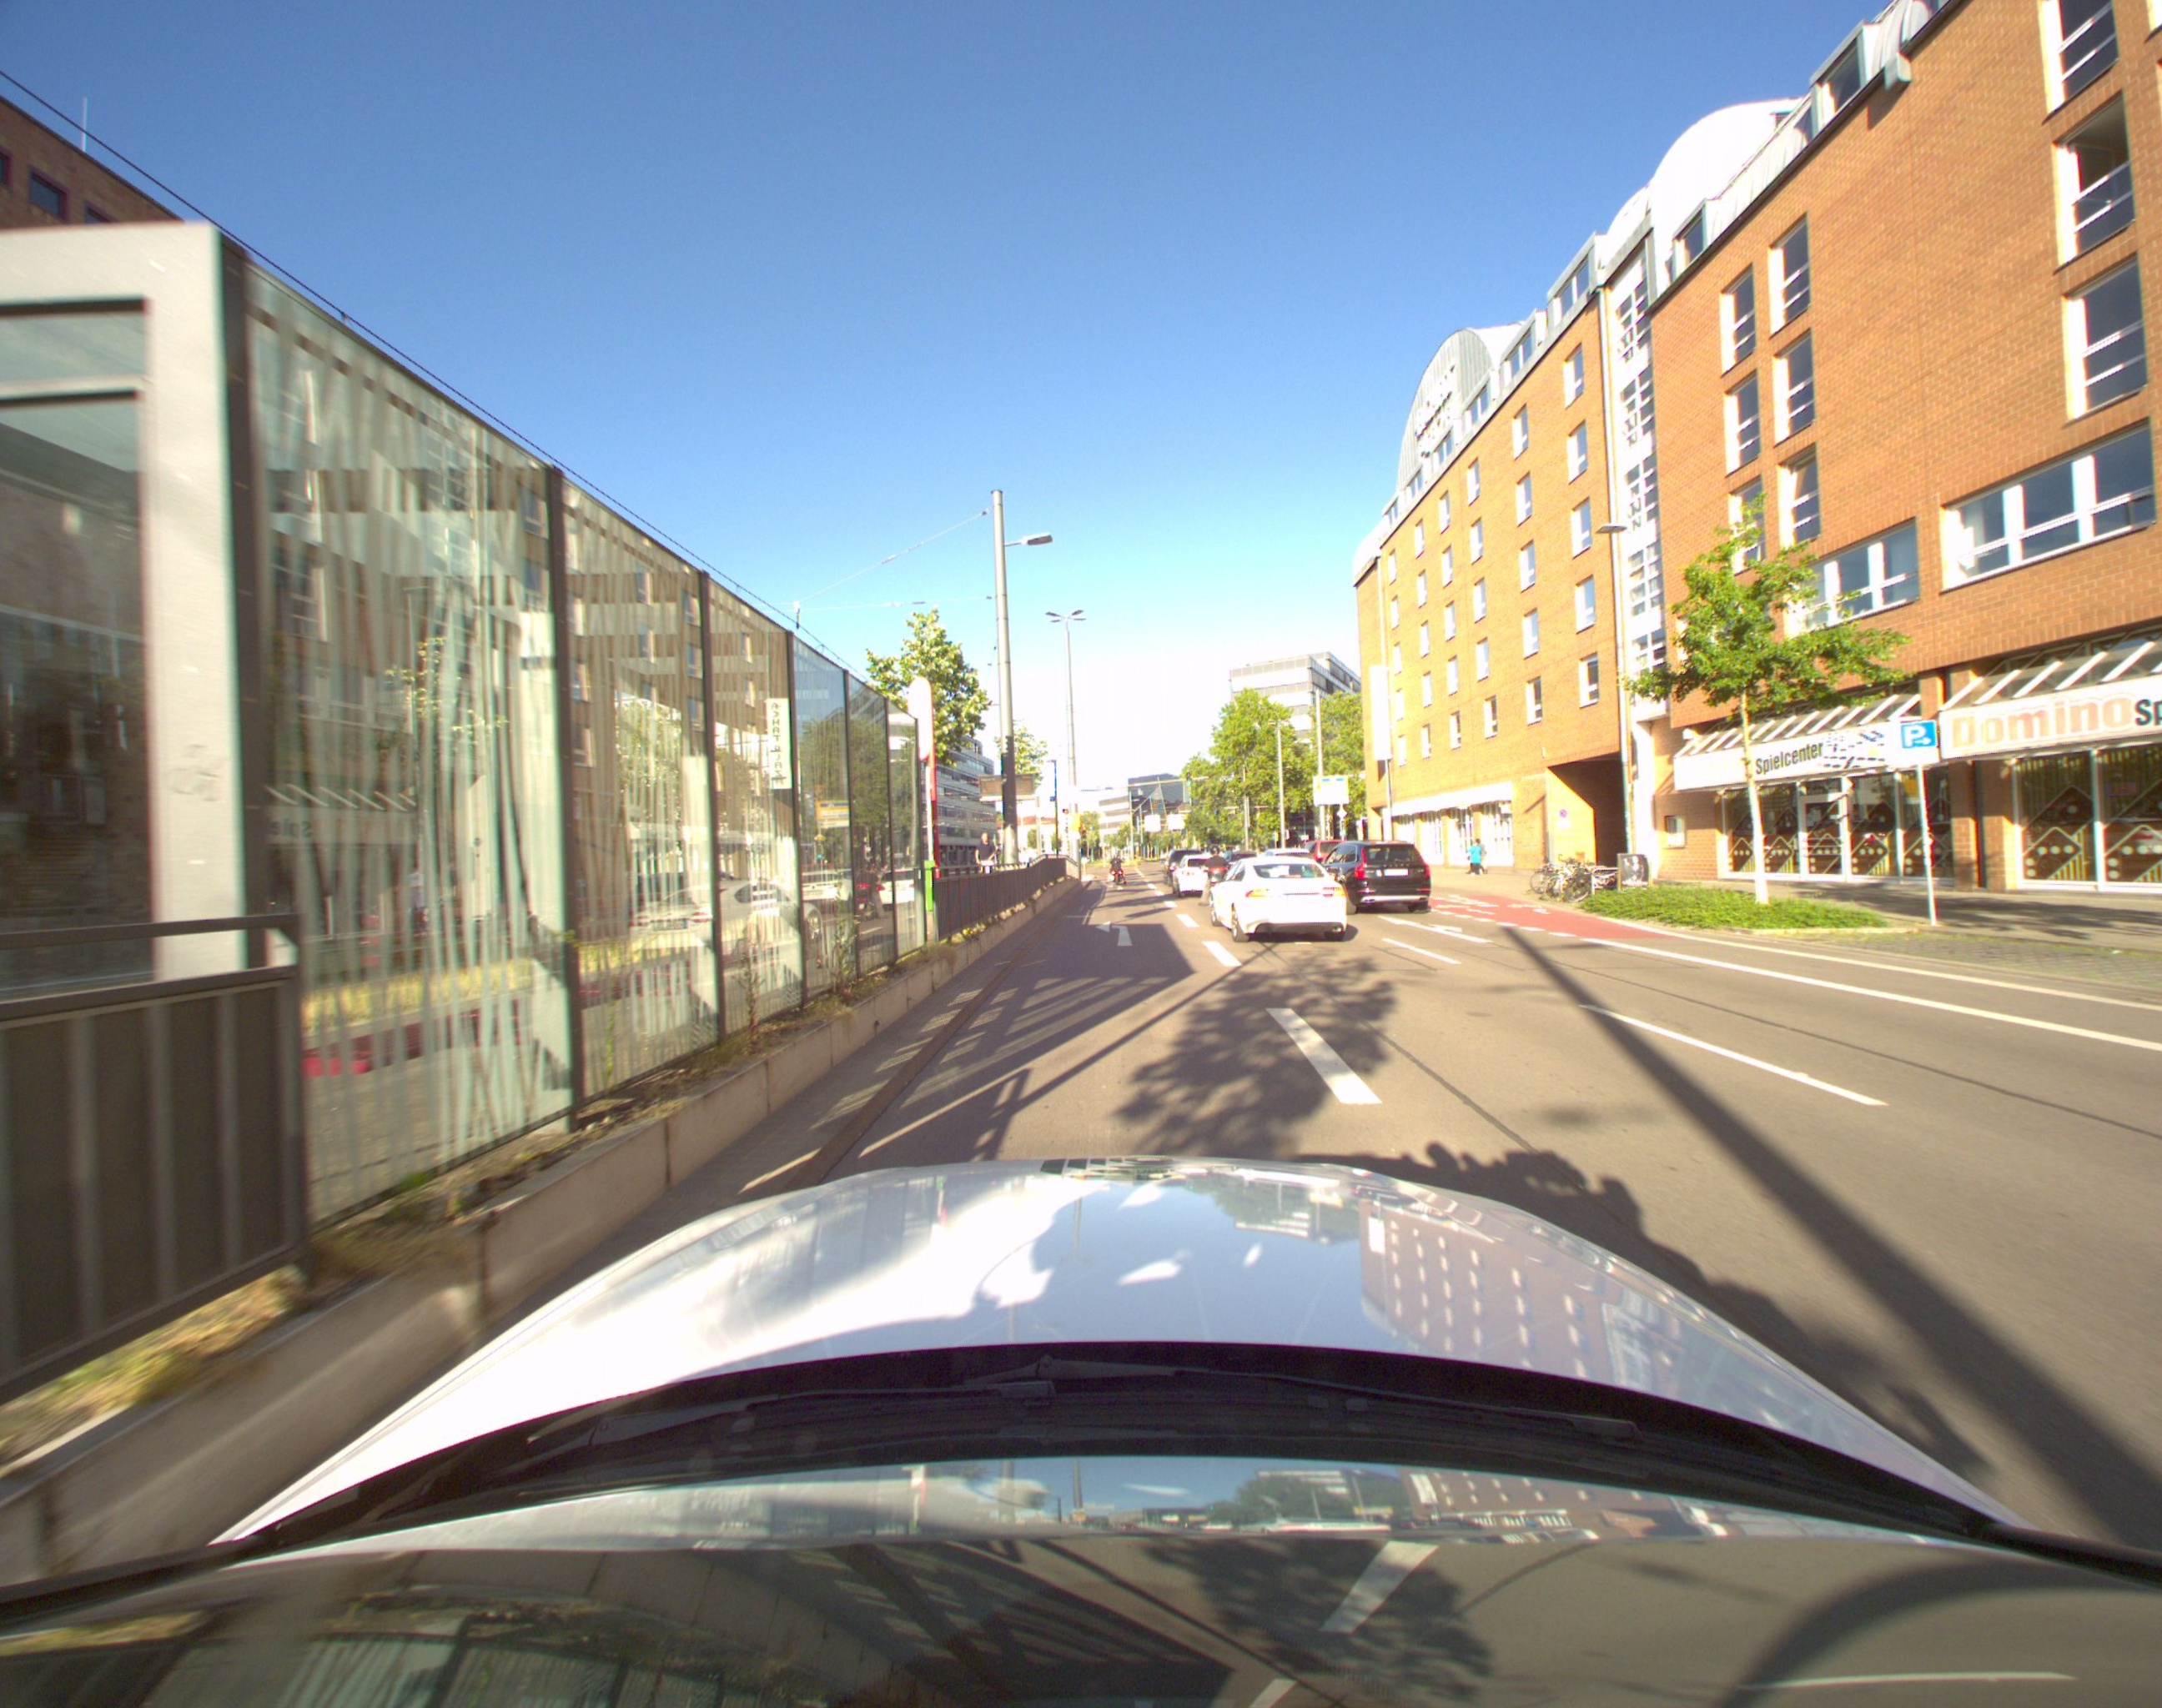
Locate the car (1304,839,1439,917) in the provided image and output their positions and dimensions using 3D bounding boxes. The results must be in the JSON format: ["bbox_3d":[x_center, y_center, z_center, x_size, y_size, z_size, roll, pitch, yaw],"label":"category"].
[{"bbox_3d":[7.143,0.544,20.560,1.967,1.759,4.636,0,0,3],"label":"car"}]

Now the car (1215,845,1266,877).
[{"bbox_3d":[7.898,0.327,40.640,1.843,1.497,4.382,-1,0,3],"label":"car"}]

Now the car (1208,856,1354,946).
[{"bbox_3d":[3.527,0.755,15.265,1.773,1.414,4.821,0,0,3],"label":"car"}]

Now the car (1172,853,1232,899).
[{"bbox_3d":[4.166,0.734,28.608,1.685,1.497,4.412,0,0,3],"label":"car"}]

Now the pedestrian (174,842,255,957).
[{"bbox_3d":[-13.496,0.690,12.697,0.579,1.738,0.616,-1,-1,3],"label":"pedestrian"}]

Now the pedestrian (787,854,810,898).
[{"bbox_3d":[-11.860,0.898,34.191,0.611,1.817,0.897,-1,-1,3],"label":"pedestrian"}]

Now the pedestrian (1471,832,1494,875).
[{"bbox_3d":[17.702,-0.022,35.907,0.604,1.821,0.749,-2,-1,2],"label":"pedestrian"}]

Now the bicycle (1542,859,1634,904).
[{"bbox_3d":[13.325,0.716,21.433,1.931,1.075,0.556,-3,-1,13],"label":"bicycle"}]

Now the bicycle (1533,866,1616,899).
[{"bbox_3d":[13.840,0.794,22.898,1.926,0.835,0.558,-4,-1,29],"label":"bicycle"}]

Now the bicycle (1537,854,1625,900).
[{"bbox_3d":[13.451,0.611,21.951,1.931,1.137,0.492,-3,-1,13],"label":"bicycle"}]

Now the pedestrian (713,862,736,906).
[{"bbox_3d":[-13.339,1.126,30.498,0.561,1.609,0.616,-1,-1,3],"label":"pedestrian"}]

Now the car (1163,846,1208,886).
[{"bbox_3d":[4.801,0.532,37.883,1.790,1.705,4.066,-1,0,3],"label":"car"}]

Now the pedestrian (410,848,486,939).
[{"bbox_3d":[-11.744,0.711,15.146,0.637,1.643,0.946,0,0,3],"label":"pedestrian"}]

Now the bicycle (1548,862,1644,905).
[{"bbox_3d":[13.074,0.753,20.732,1.929,0.969,0.557,-3,-1,20],"label":"bicycle"}]

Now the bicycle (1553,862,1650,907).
[{"bbox_3d":[12.888,0.759,20.223,1.929,1.022,0.504,-3,-1,20],"label":"bicycle"}]

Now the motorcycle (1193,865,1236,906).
[{"bbox_3d":[3.791,0.864,23.303,0.834,1.062,2.553,-2,0,2],"label":"motorcycle"}]

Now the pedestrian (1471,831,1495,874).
[{"bbox_3d":[17.387,-0.049,35.217,0.604,1.821,0.749,-2,-1,2],"label":"pedestrian"}]

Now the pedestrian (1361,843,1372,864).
[{"bbox_3d":[22.717,-0.032,64.752,0.694,1.661,0.520,0,-1,3],"label":"pedestrian"}]

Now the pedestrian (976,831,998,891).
[{"bbox_3d":[-2.668,0.206,23.166,0.517,1.669,0.550,-1,-1,3],"label":"pedestrian"}]

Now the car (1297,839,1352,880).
[{"bbox_3d":[12.644,0.275,42.539,1.852,1.961,4.004,-2,0,4],"label":"car"}]

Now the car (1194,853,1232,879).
[{"bbox_3d":[8.238,0.709,51.005,1.843,1.497,4.382,-1,0,3],"label":"car"}]

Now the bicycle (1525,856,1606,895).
[{"bbox_3d":[14.422,0.644,24.300,1.931,1.074,0.628,-3,-1,14],"label":"bicycle"}]

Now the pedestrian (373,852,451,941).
[{"bbox_3d":[-12.419,0.767,15.146,0.637,1.608,0.946,0,0,3],"label":"pedestrian"}]

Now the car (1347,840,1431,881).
[{"bbox_3d":[12.333,0.253,32.914,1.839,1.560,4.636,0,0,3],"label":"car"}]

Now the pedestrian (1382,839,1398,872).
[{"bbox_3d":[17.721,0.089,46.673,0.604,1.821,0.749,-2,-1,2],"label":"pedestrian"}]

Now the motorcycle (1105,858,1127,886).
[{"bbox_3d":[1.756,0.856,40.290,1.014,1.312,2.917,0,0,3],"label":"motorcycle"}]

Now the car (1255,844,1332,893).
[{"bbox_3d":[7.667,0.488,29.812,1.843,1.639,4.382,-1,0,3],"label":"car"}]

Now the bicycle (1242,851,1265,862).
[{"bbox_3d":[20.974,0.338,99.090,2.666,1.244,0.531,-2,0,25],"label":"bicycle"}]

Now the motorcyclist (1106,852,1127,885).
[{"bbox_3d":[1.753,0.711,40.345,1.015,1.603,1.149,0,0,3],"label":"motorcyclist"}]
